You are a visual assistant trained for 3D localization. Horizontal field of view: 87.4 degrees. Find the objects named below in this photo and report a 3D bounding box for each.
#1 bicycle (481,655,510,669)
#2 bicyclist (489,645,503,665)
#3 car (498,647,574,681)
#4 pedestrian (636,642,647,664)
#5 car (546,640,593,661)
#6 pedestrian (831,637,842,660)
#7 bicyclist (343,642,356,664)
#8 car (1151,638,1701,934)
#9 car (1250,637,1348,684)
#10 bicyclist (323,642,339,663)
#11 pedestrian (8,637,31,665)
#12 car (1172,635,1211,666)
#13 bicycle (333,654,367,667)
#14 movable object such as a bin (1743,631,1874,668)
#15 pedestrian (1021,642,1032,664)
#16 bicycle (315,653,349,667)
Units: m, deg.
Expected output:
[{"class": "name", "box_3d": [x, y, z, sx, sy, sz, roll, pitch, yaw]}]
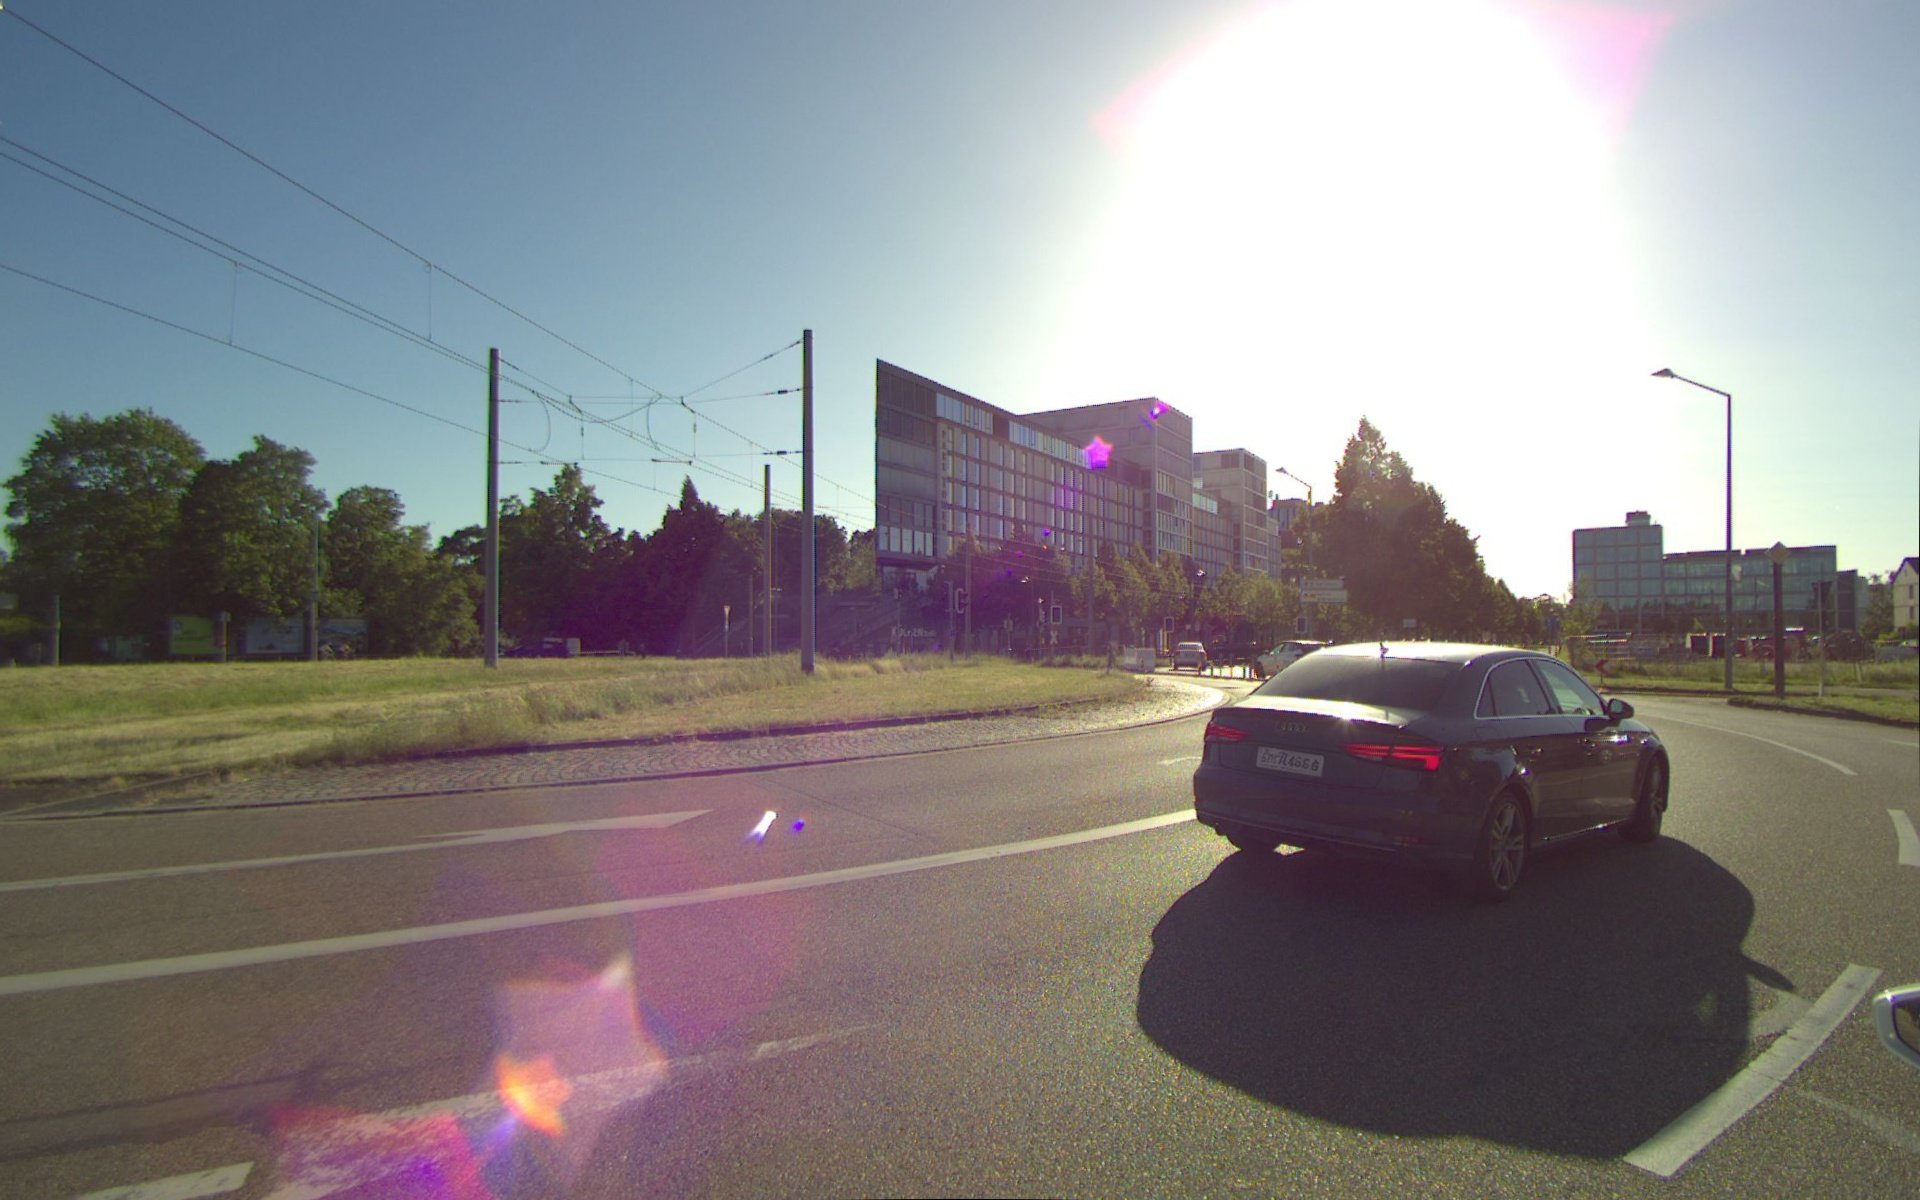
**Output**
[{"class": "bicycle", "box_3d": [-33.470, 4.478, 72.403, 1.851, 1.025, 0.581, 3, -3, -35]}, {"class": "bicyclist", "box_3d": [-33.452, 3.964, 72.421, 0.749, 1.487, 0.581, 2, -3, -34]}, {"class": "car", "box_3d": [-23.778, 3.569, 56.336, 3.865, 1.808, 1.764, 1, -2, -26]}, {"class": "pedestrian", "box_3d": [-24.599, 4.083, 77.558, 0.751, 1.651, 0.880, 1, -2, -25]}, {"class": "car", "box_3d": [-34.983, 4.483, 90.163, 3.679, 1.829, 1.834, 0, -2, -13]}, {"class": "pedestrian", "box_3d": [-11.051, 4.298, 89.935, 0.629, 2.040, 0.832, -1, -2, 33]}, {"class": "bicyclist", "box_3d": [-40.095, 3.476, 65.977, 0.710, 1.411, 0.612, 1, -2, -30]}, {"class": "car", "box_3d": [3.391, 0.972, 6.902, 4.322, 1.398, 1.746, 2, -2, -39]}, {"class": "car", "box_3d": [12.173, 2.138, 36.283, 1.776, 1.481, 3.803, 1, -1, -10]}, {"class": "bicyclist", "box_3d": [-41.400, 3.455, 66.104, 0.827, 1.411, 0.612, 1, -2, -30]}, {"class": "pedestrian", "box_3d": [-67.939, 3.696, 72.576, 0.803, 2.040, 0.900, 0, -2, 26]}, {"class": "car", "box_3d": [12.493, 2.723, 54.451, 1.959, 1.596, 4.411, -1, -2, 12]}, {"class": "bicycle", "box_3d": [-40.044, 3.969, 65.983, 1.866, 0.864, 0.612, 1, -2, -30]}, {"class": "movable object such as a bin", "box_3d": [68.485, 3.967, 81.333, 7.802, 2.819, 2.934, -1, -2, 35]}, {"class": "pedestrian", "box_3d": [4.725, 3.754, 71.145, 0.546, 1.485, 0.676, 0, -2, 29]}, {"class": "bicycle", "box_3d": [-41.341, 3.948, 66.115, 1.866, 0.864, 0.612, 1, -2, -30]}]
